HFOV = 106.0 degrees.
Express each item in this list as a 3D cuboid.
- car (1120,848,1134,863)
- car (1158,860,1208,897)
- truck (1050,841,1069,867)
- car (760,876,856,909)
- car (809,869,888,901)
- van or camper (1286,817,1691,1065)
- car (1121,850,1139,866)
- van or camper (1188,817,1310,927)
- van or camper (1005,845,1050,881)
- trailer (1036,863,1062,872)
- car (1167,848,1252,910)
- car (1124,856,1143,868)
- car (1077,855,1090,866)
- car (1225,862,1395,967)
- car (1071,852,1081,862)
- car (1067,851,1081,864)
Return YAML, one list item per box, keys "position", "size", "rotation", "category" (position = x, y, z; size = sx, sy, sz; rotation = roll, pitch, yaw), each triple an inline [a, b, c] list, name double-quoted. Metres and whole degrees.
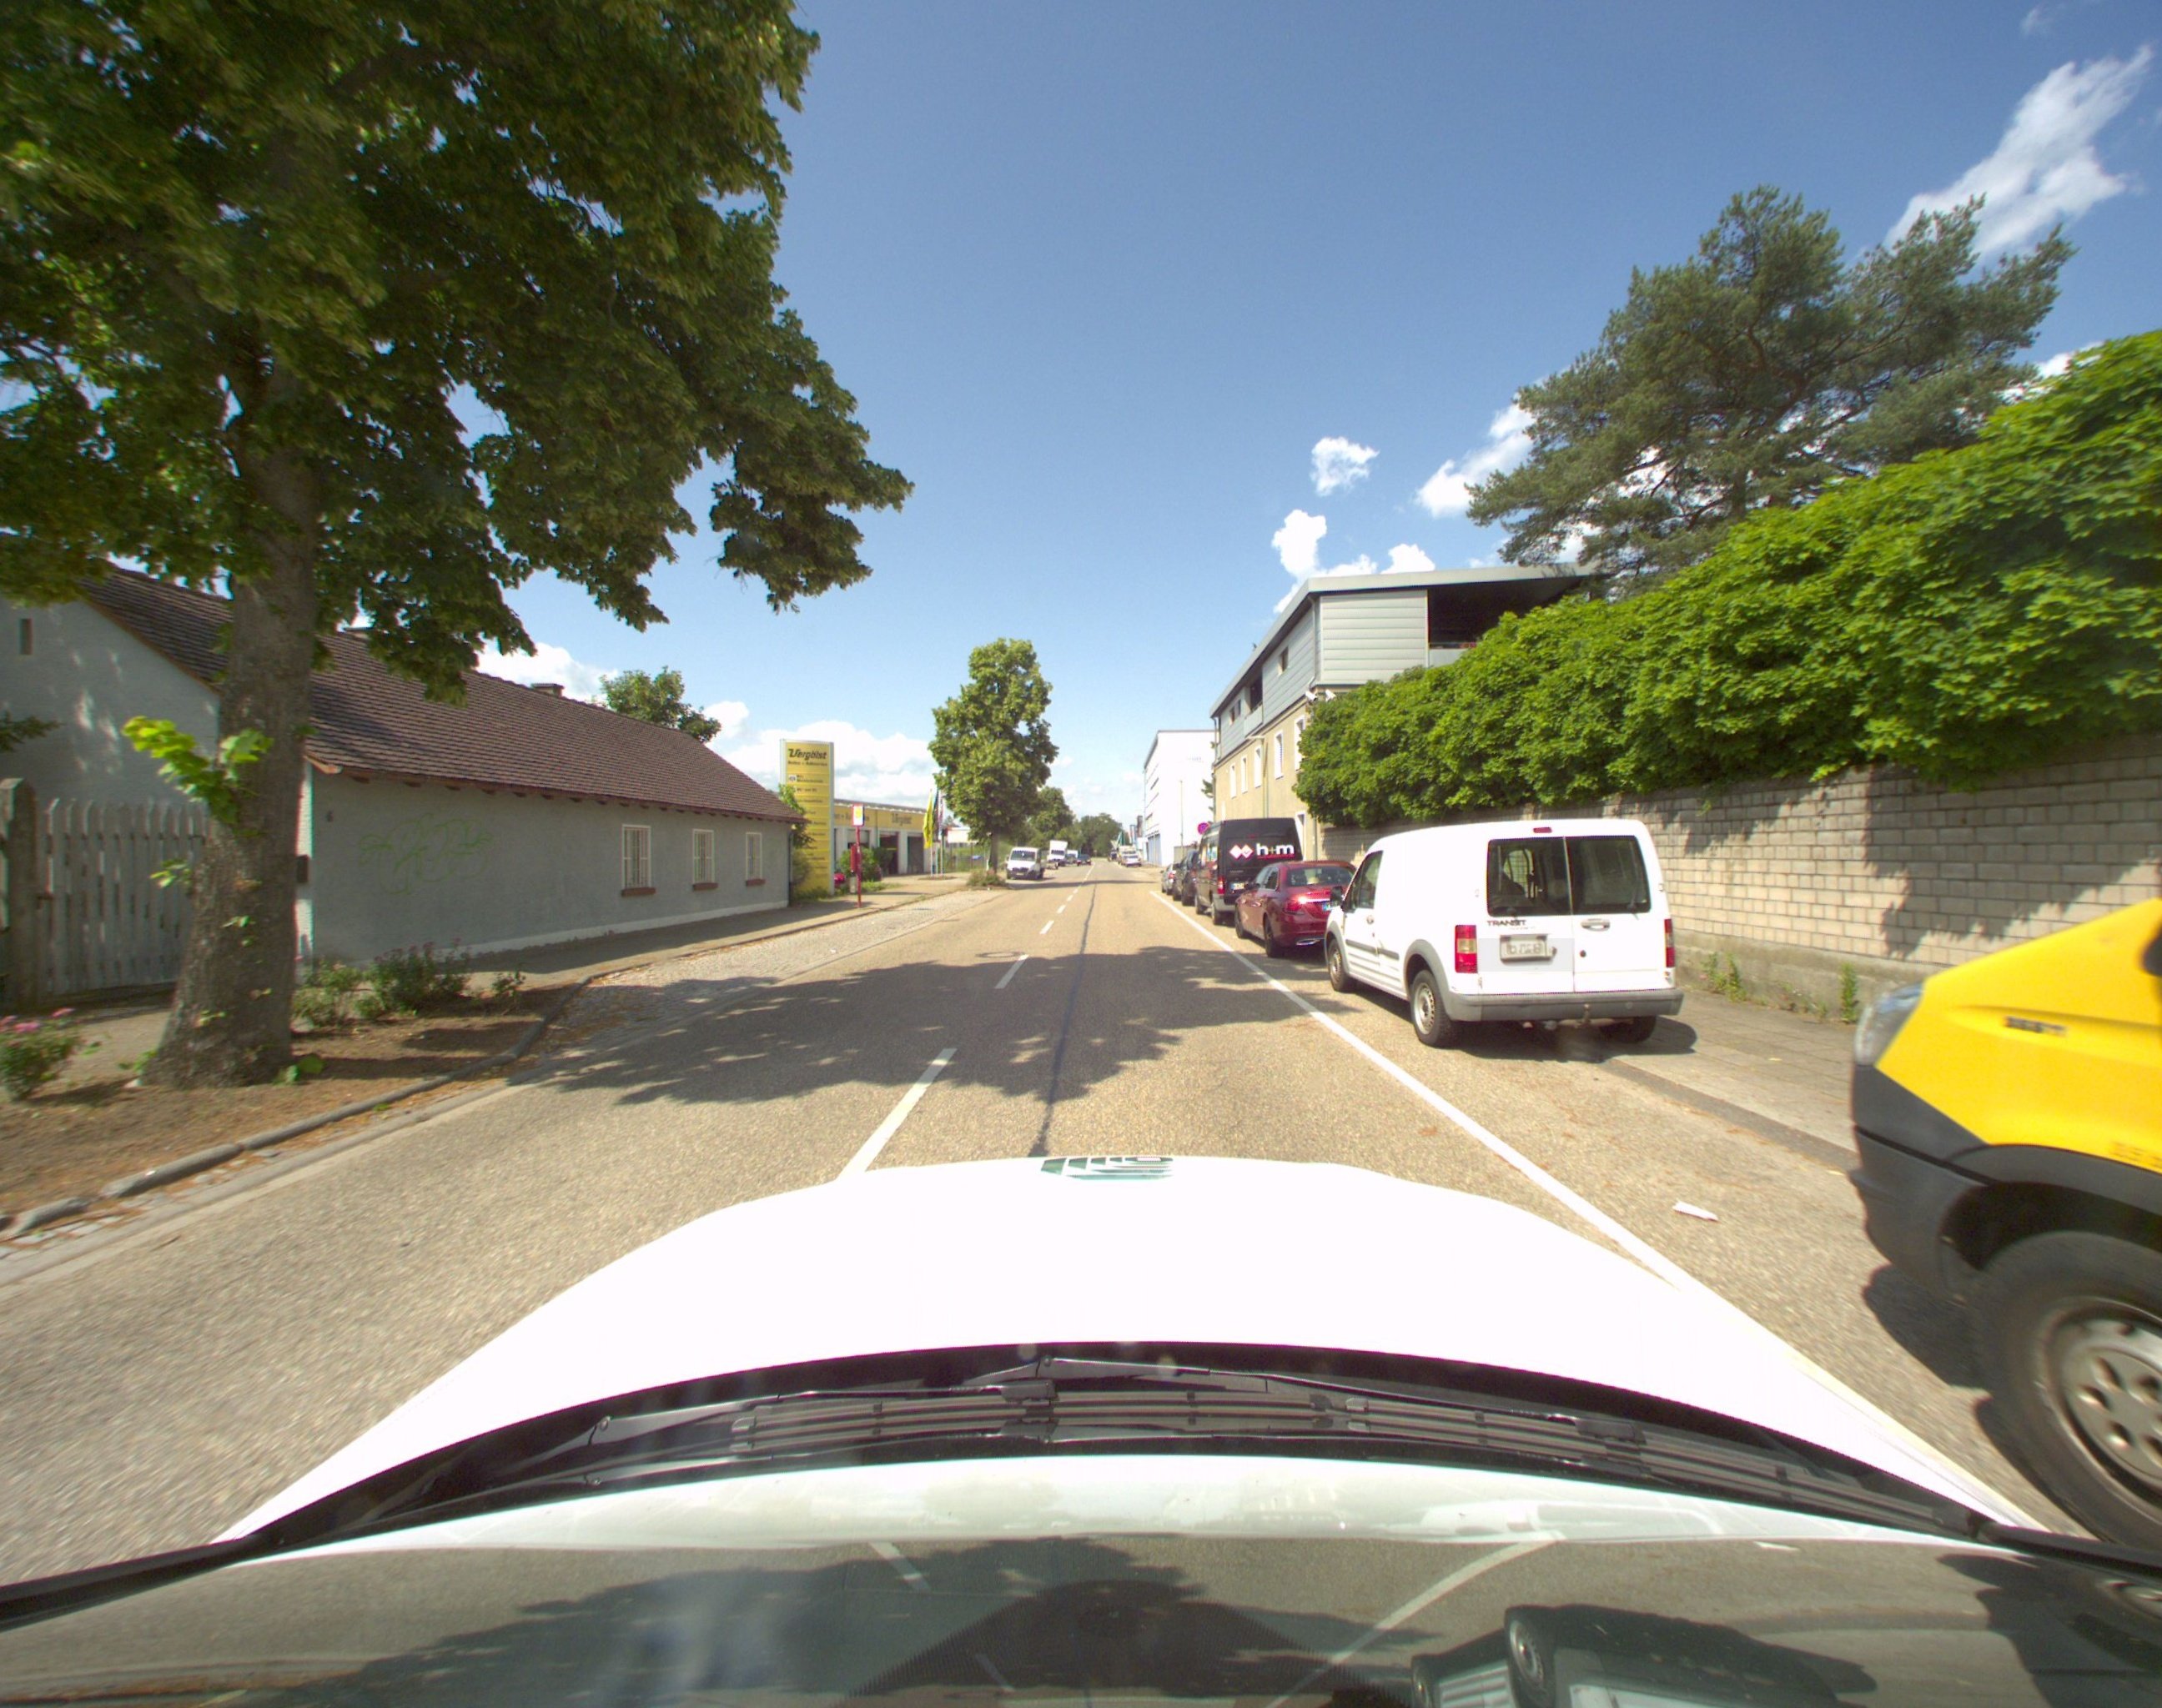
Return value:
- position: [6.552, 0.157, 116.202]
  size: [1.701, 2.090, 4.001]
  rotation: [-1, 0, 1]
  category: "car"
- position: [4.057, 0.957, 32.884]
  size: [1.623, 1.353, 3.925]
  rotation: [-1, 0, 1]
  category: "car"
- position: [-2.660, -0.029, 103.919]
  size: [2.022, 3.154, 6.502]
  rotation: [-1, 0, 2]
  category: "truck"
- position: [-12.529, 1.737, 37.416]
  size: [3.809, 1.422, 1.737]
  rotation: [-1, 0, 13]
  category: "car"
- position: [-11.963, 1.575, 41.912]
  size: [3.798, 1.377, 1.868]
  rotation: [-2, 0, -18]
  category: "car"
- position: [3.681, 0.644, 8.753]
  size: [1.752, 1.805, 5.590]
  rotation: [0, 0, 2]
  category: "van or camper"
- position: [6.336, 0.453, 105.569]
  size: [2.208, 2.013, 5.487]
  rotation: [-1, 0, 2]
  category: "car"
- position: [3.893, 0.391, 19.887]
  size: [1.986, 2.291, 5.449]
  rotation: [1, 0, 1]
  category: "van or camper"
- position: [-3.827, 0.597, 59.577]
  size: [2.163, 2.413, 7.707]
  rotation: [-1, 0, 5]
  category: "van or camper"
- position: [-3.499, 1.504, 89.913]
  size: [2.408, 0.813, 5.539]
  rotation: [1, 0, 2]
  category: "trailer"
- position: [4.005, 0.727, 26.136]
  size: [1.954, 1.780, 4.954]
  rotation: [1, 0, 0]
  category: "car"
- position: [5.904, 0.869, 91.727]
  size: [1.921, 1.310, 4.001]
  rotation: [-1, 0, 1]
  category: "car"
- position: [0.388, 0.853, 109.436]
  size: [1.648, 1.324, 4.418]
  rotation: [-1, 0, 2]
  category: "car"
- position: [3.634, 0.869, 13.813]
  size: [1.675, 1.442, 4.768]
  rotation: [0, 0, 1]
  category: "car"
- position: [-0.860, 0.568, 144.796]
  size: [1.707, 1.650, 4.001]
  rotation: [-1, 0, 1]
  category: "car"
- position: [-1.100, 0.528, 126.622]
  size: [1.986, 2.013, 4.001]
  rotation: [-1, 0, 2]
  category: "car"
